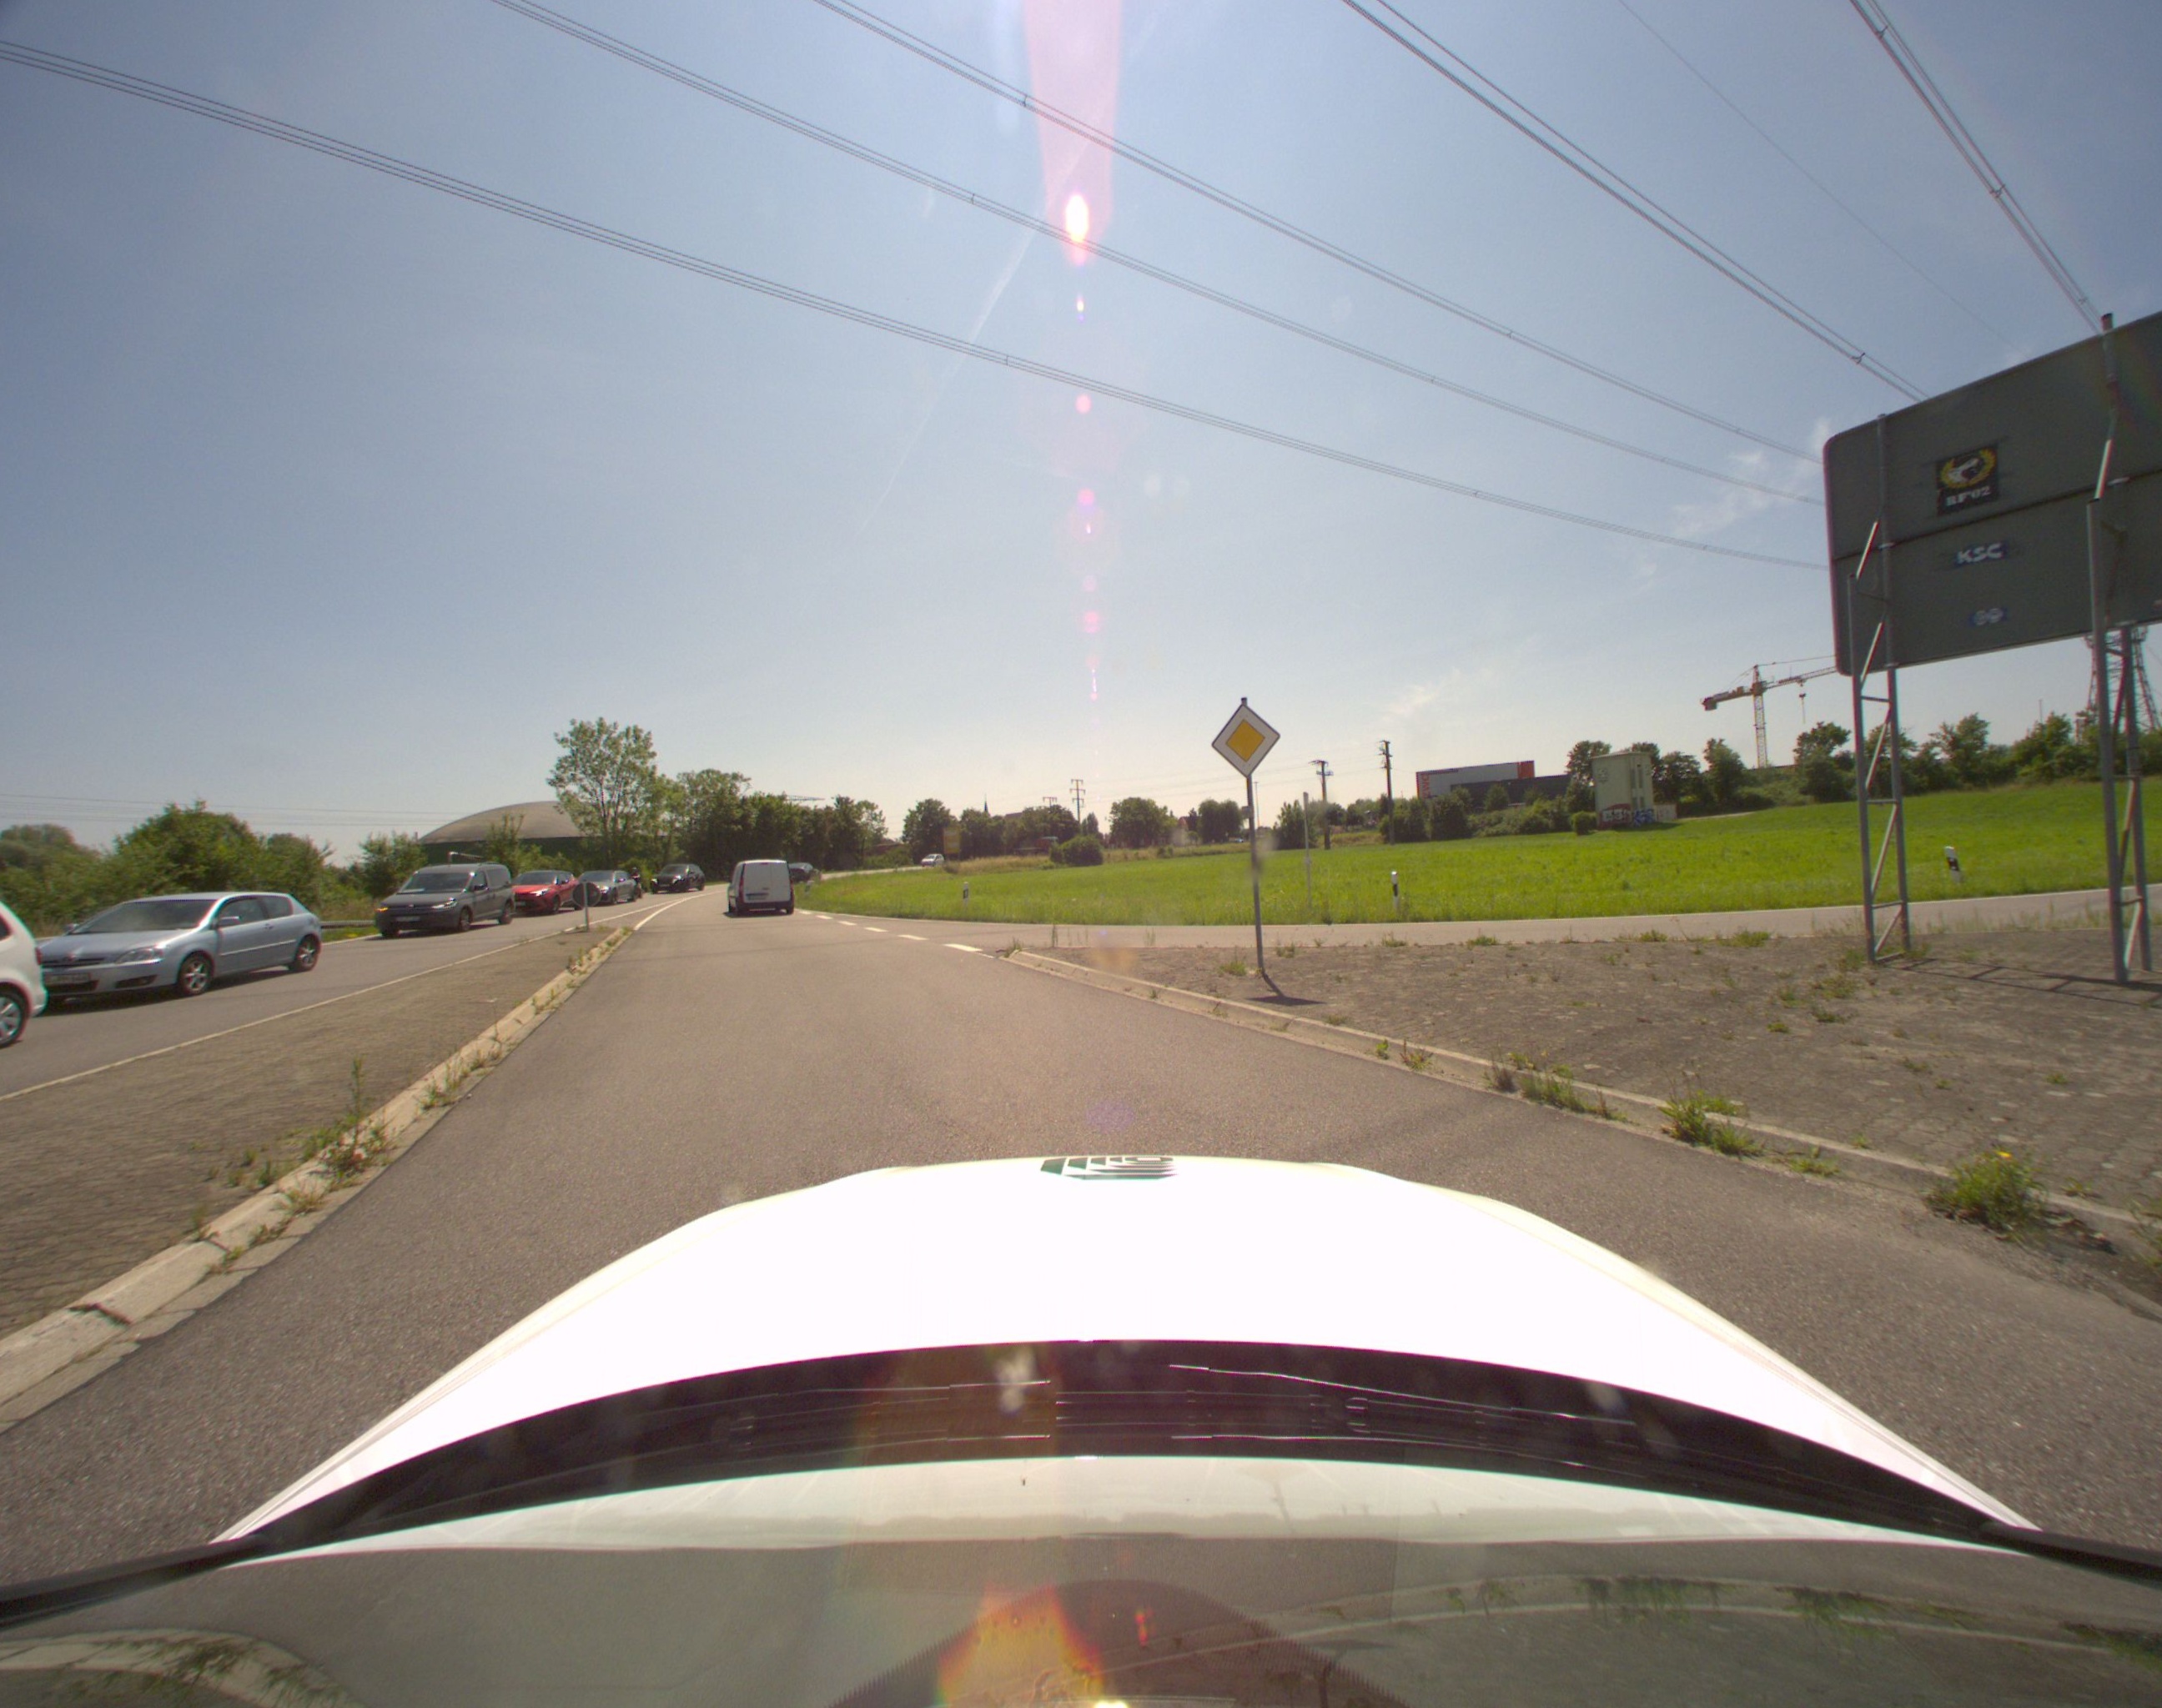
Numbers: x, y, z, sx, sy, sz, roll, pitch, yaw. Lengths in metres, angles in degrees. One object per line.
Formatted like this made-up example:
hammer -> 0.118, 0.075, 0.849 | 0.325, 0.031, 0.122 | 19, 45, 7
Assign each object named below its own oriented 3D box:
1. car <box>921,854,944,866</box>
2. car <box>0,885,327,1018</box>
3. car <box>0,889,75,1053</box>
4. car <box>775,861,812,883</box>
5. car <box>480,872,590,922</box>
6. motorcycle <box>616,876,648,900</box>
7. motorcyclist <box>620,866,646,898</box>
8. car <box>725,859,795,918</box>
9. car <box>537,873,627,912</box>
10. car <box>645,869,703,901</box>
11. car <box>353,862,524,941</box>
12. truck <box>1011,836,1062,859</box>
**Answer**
car -> -18.336, 0.737, 100.727 | 1.527, 1.443, 3.618 | 0, -1, 10
car -> -13.635, 1.311, 12.363 | 1.637, 1.459, 3.983 | -3, 1, -18
car -> -11.341, 1.211, 6.699 | 1.777, 1.620, 4.304 | -1, 0, -18
car -> -20.285, 1.250, 57.593 | 1.719, 1.420, 3.733 | -3, 0, -9
car -> -19.376, 1.466, 29.136 | 1.801, 1.515, 4.371 | -3, 0, -13
motorcycle -> -22.100, 1.654, 40.129 | 0.783, 1.123, 2.418 | -1, -1, -14
motorcyclist -> -22.093, 1.366, 40.174 | 0.782, 1.495, 1.125 | -2, 0, -14
car -> -10.800, 1.110, 27.279 | 1.913, 1.732, 3.790 | -3, 0, -25
car -> -21.306, 1.577, 34.976 | 1.843, 1.460, 4.786 | -2, -1, -13
car -> -23.299, 1.754, 46.769 | 1.701, 1.638, 4.237 | -1, 0, -8
car -> -17.470, 1.214, 22.457 | 1.929, 1.832, 4.418 | -3, 0, -13
truck -> -6.368, -0.953, 118.940 | 3.069, 3.137, 8.857 | -2, -1, 29
